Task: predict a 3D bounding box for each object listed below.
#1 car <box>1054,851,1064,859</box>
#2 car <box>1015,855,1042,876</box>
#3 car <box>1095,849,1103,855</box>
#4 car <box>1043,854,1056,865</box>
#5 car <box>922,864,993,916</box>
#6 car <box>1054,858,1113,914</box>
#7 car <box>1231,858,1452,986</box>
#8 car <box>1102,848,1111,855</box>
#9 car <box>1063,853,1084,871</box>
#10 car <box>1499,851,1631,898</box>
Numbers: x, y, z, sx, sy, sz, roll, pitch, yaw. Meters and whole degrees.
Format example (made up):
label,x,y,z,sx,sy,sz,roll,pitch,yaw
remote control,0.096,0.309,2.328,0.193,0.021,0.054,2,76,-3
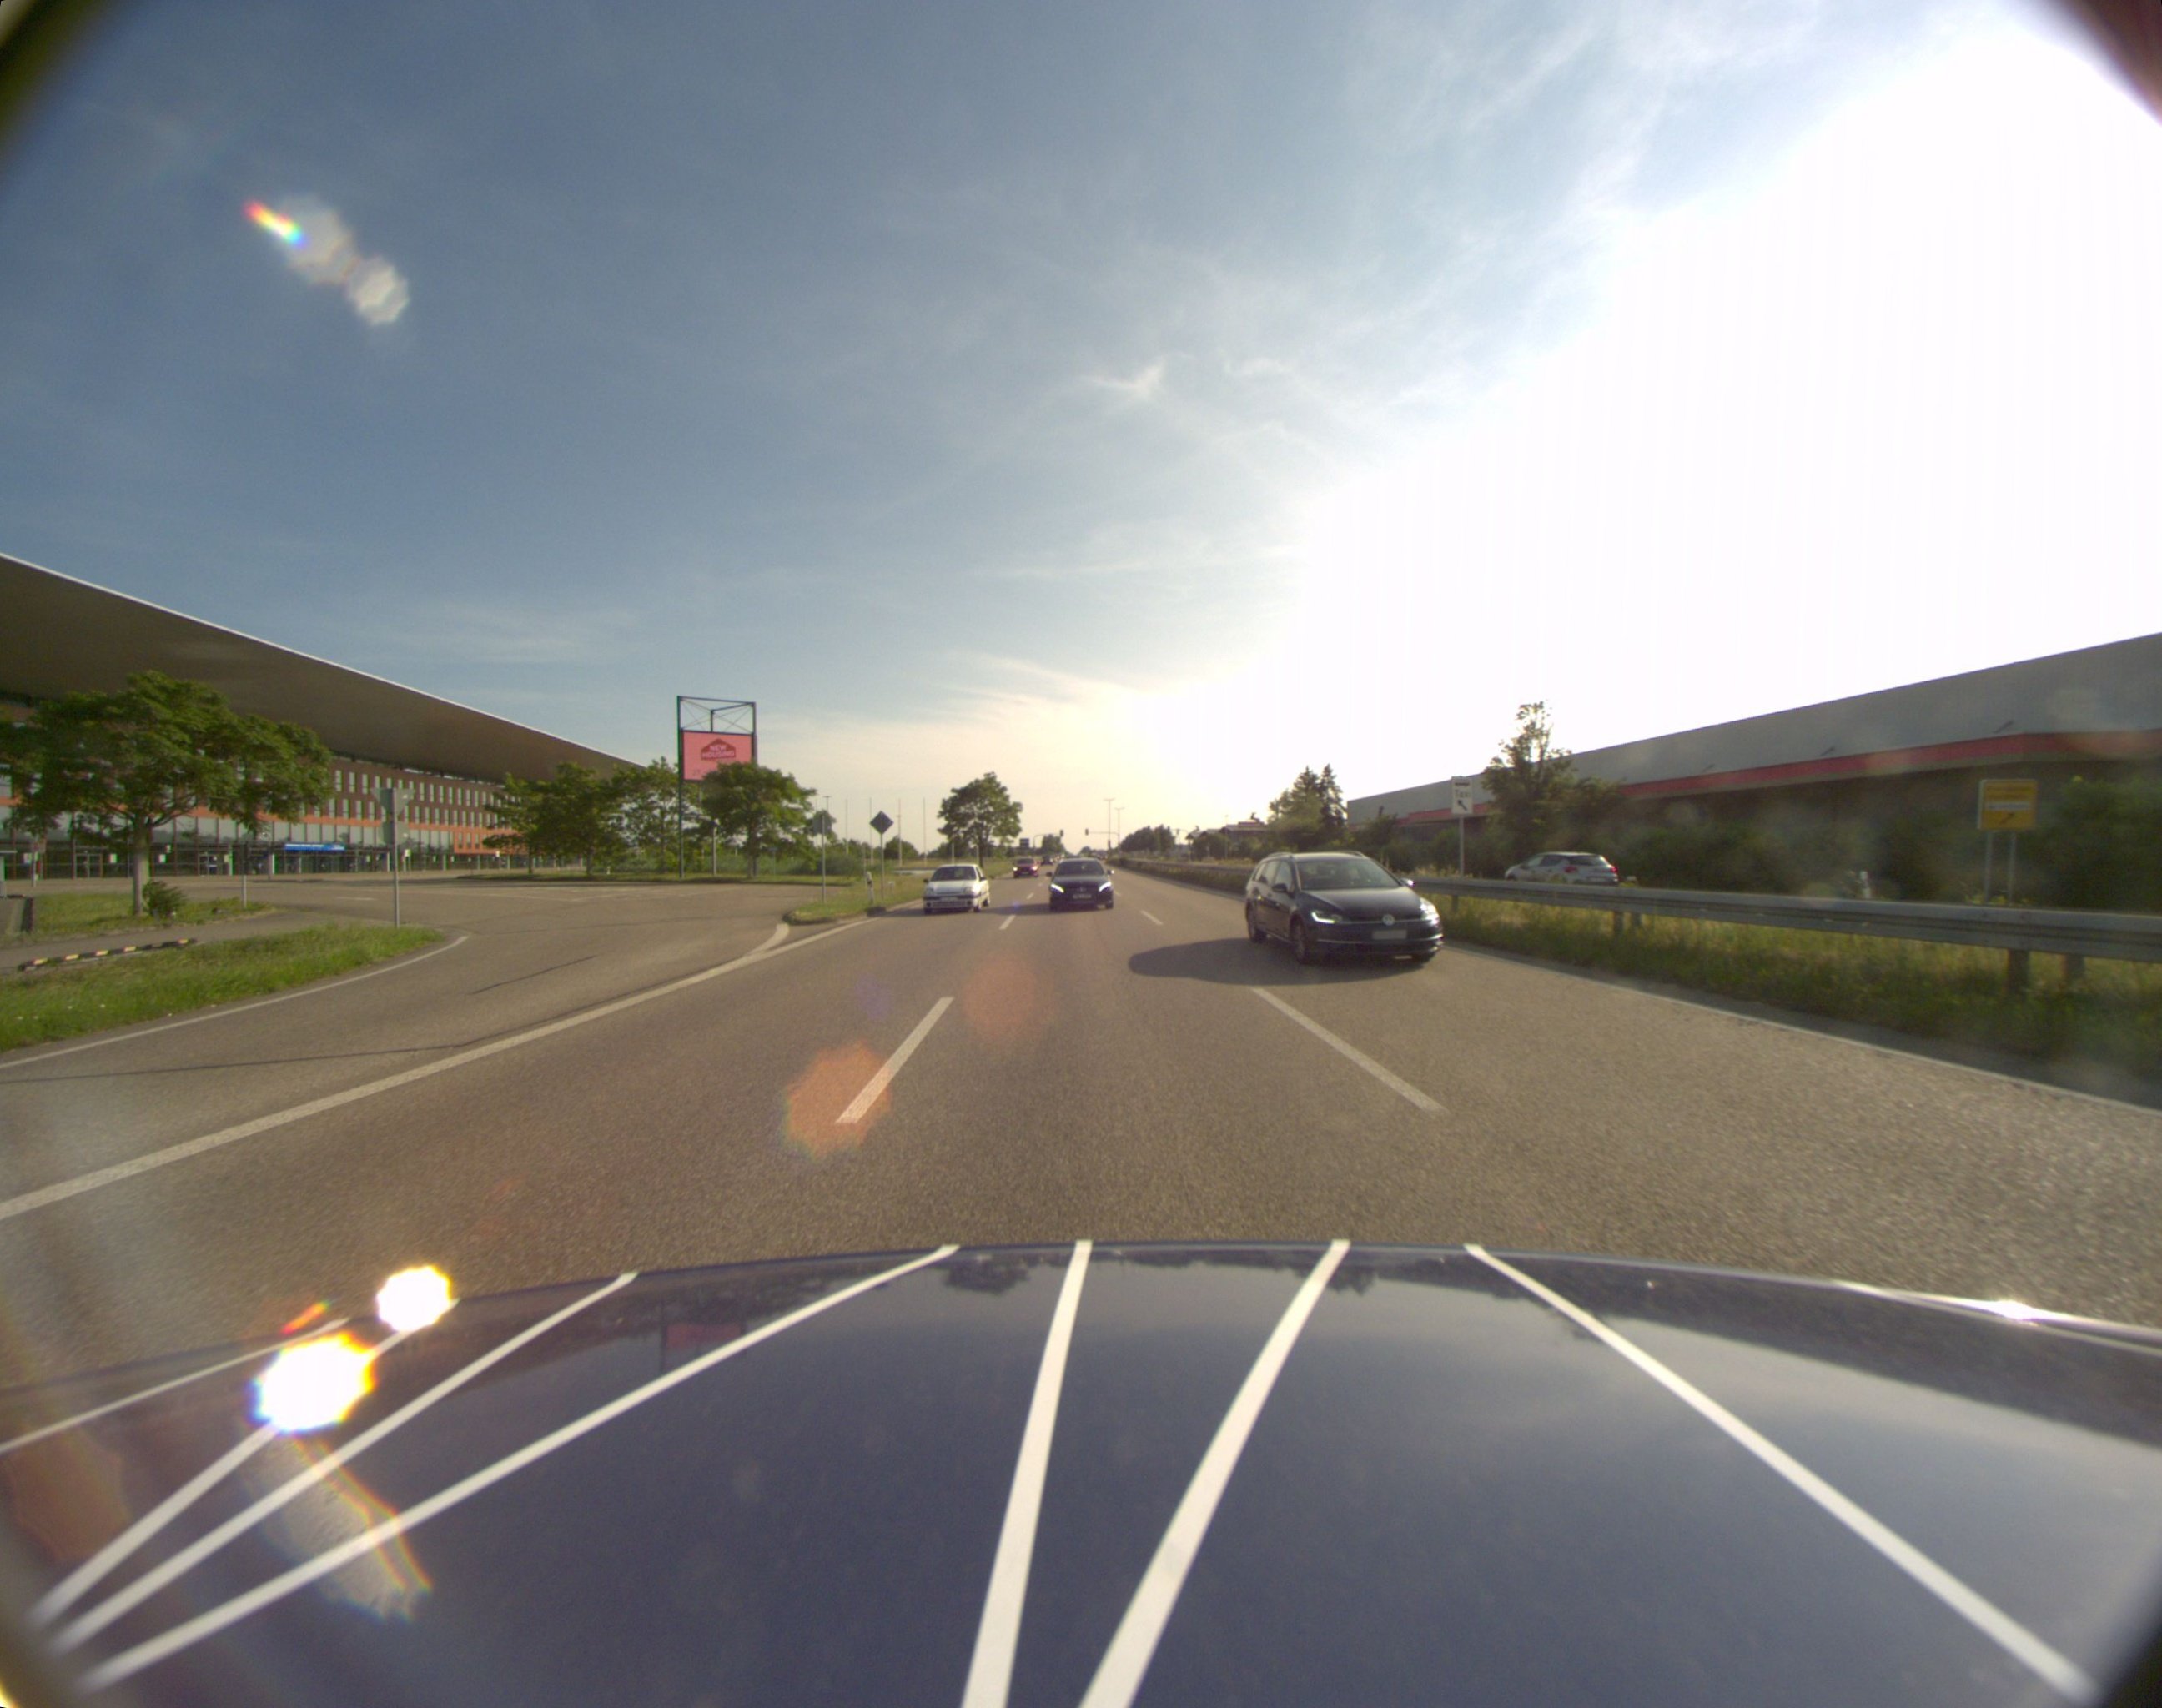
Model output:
label,x,y,z,sx,sy,sz,roll,pitch,yaw
car,-4.093,0.211,144.124,1.751,1.512,3.739,-2,0,-1
car,-3.933,0.849,57.048,1.751,1.512,3.739,-2,0,-1
car,4.484,-0.603,194.723,1.751,1.512,3.738,-2,0,-3
car,-4.742,0.783,113.433,1.751,1.512,3.739,-2,0,-1
car,-3.672,1.023,23.027,1.578,1.371,3.451,-2,0,-1
car,0.046,0.880,23.149,1.577,1.462,5.022,-1,0,0
car,3.587,0.825,11.464,1.650,1.462,4.775,-1,0,-1
car,5.535,-0.592,164.700,1.711,1.428,3.564,-2,0,-1
car,-0.640,0.650,64.021,1.758,1.499,3.422,-1,0,-1
car,15.824,0.623,25.107,1.784,1.416,3.999,-1,0,0
